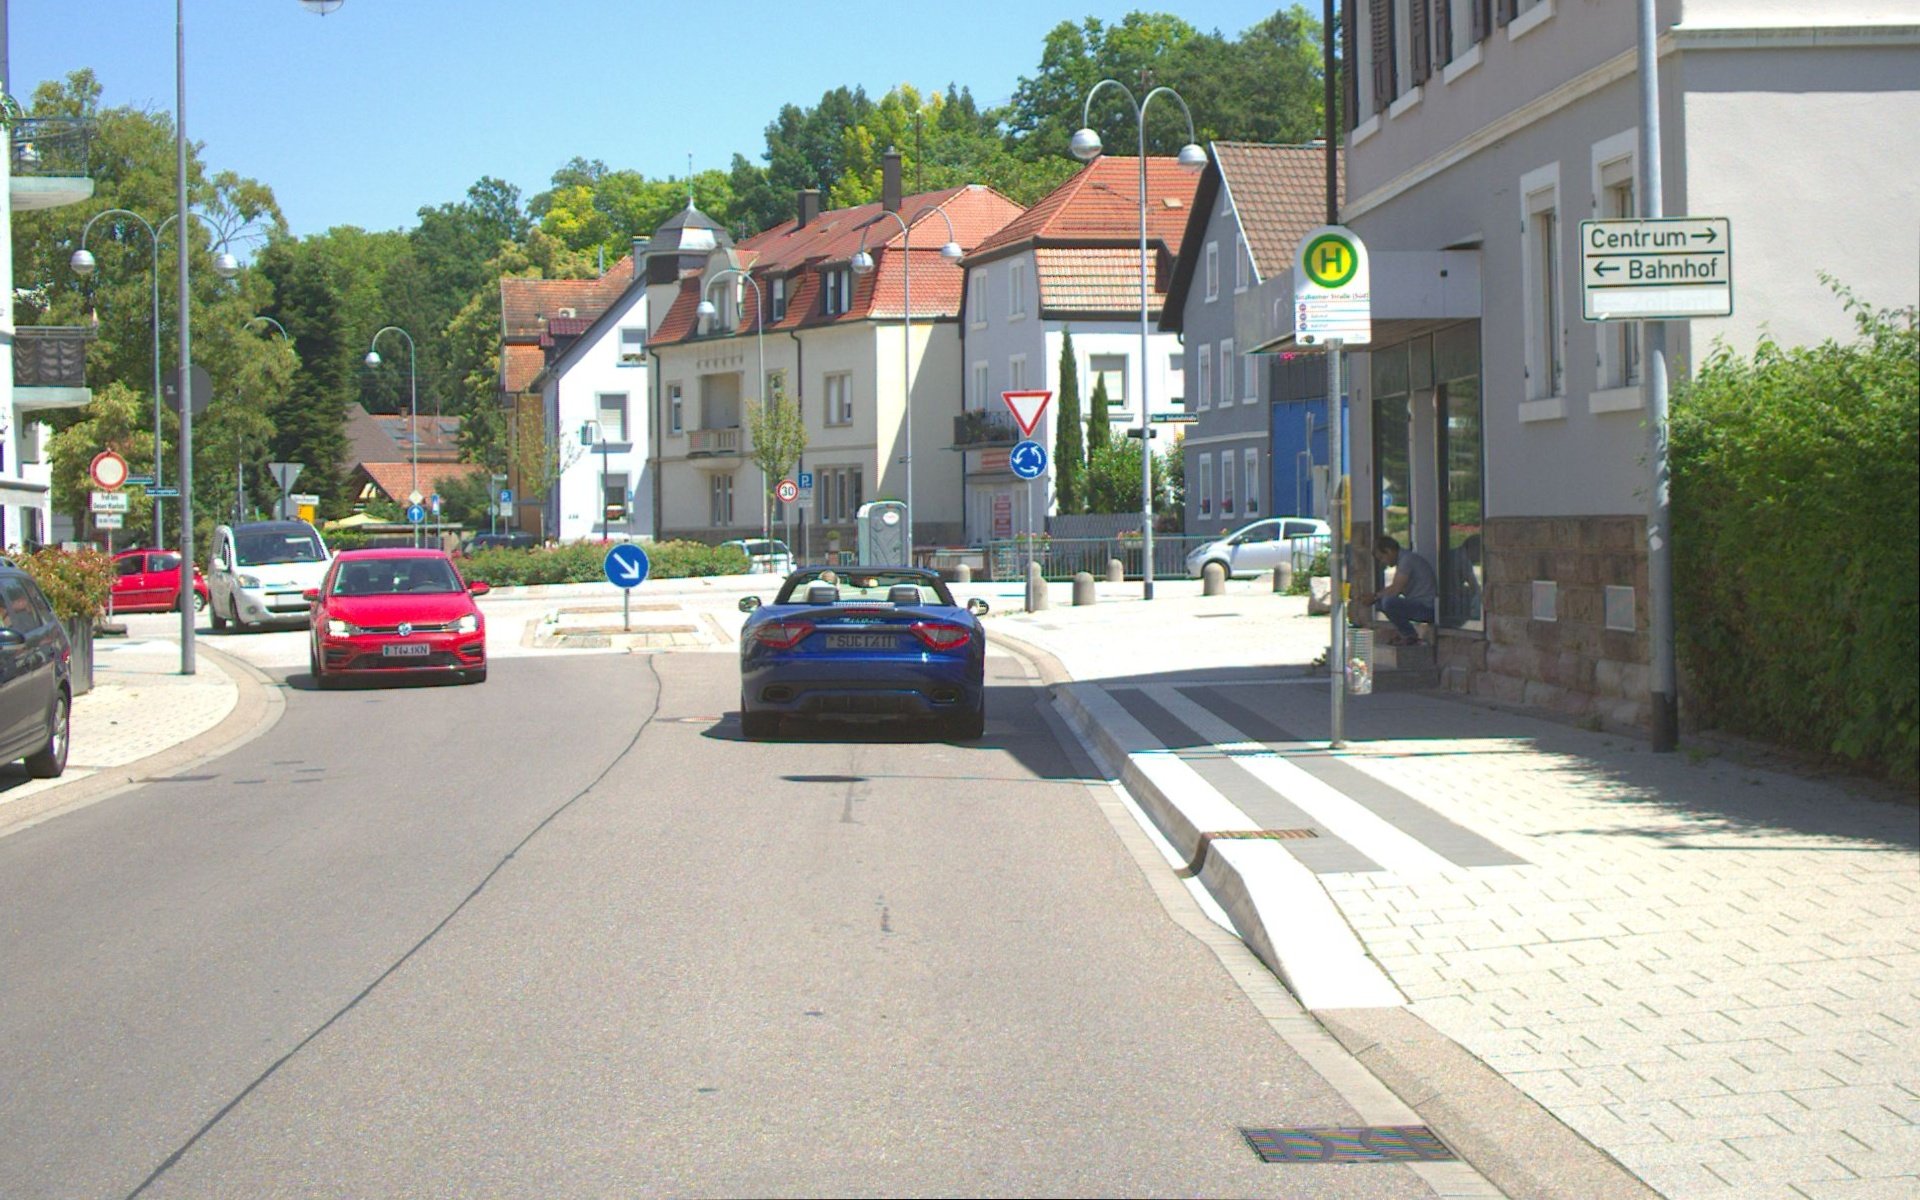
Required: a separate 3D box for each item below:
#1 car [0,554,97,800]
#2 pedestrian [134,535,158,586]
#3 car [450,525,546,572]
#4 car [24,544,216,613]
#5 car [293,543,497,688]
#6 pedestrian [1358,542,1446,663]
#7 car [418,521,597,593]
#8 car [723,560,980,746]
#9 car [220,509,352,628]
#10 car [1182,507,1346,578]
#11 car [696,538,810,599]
[{"bbox_3d":[-6.876,0.449,21.790,1.915,1.476,4.338,2,1,-3],"label":"car"},{"bbox_3d":[-25.338,-1.232,107.036,0.535,1.570,0.562,-1,1,8],"label":"pedestrian"},{"bbox_3d":[-16.600,-1.857,123.414,1.850,1.582,4.000,-3,1,-33],"label":"car"},{"bbox_3d":[-17.711,-0.466,72.455,3.743,1.327,1.814,-2,1,-20],"label":"car"},{"bbox_3d":[-6.133,0.125,37.719,1.915,1.422,3.981,-3,1,-6],"label":"car"},{"bbox_3d":[3.773,0.015,29.402,0.590,0.996,0.724,-2,1,-4],"label":"pedestrian"},{"bbox_3d":[-8.887,-0.828,67.261,1.993,1.325,4.201,-2,1,-29],"label":"car"},{"bbox_3d":[-0.855,0.373,27.771,1.910,1.356,4.286,0,1,-1],"label":"car"},{"bbox_3d":[-11.075,-0.534,56.388,1.993,1.816,4.417,-2,1,-12],"label":"car"},{"bbox_3d":[6.618,-1.254,75.059,3.459,1.445,1.580,-2,1,3],"label":"car"},{"bbox_3d":[-5.845,-0.878,96.646,1.918,1.607,4.148,-2,0,-22],"label":"car"}]
